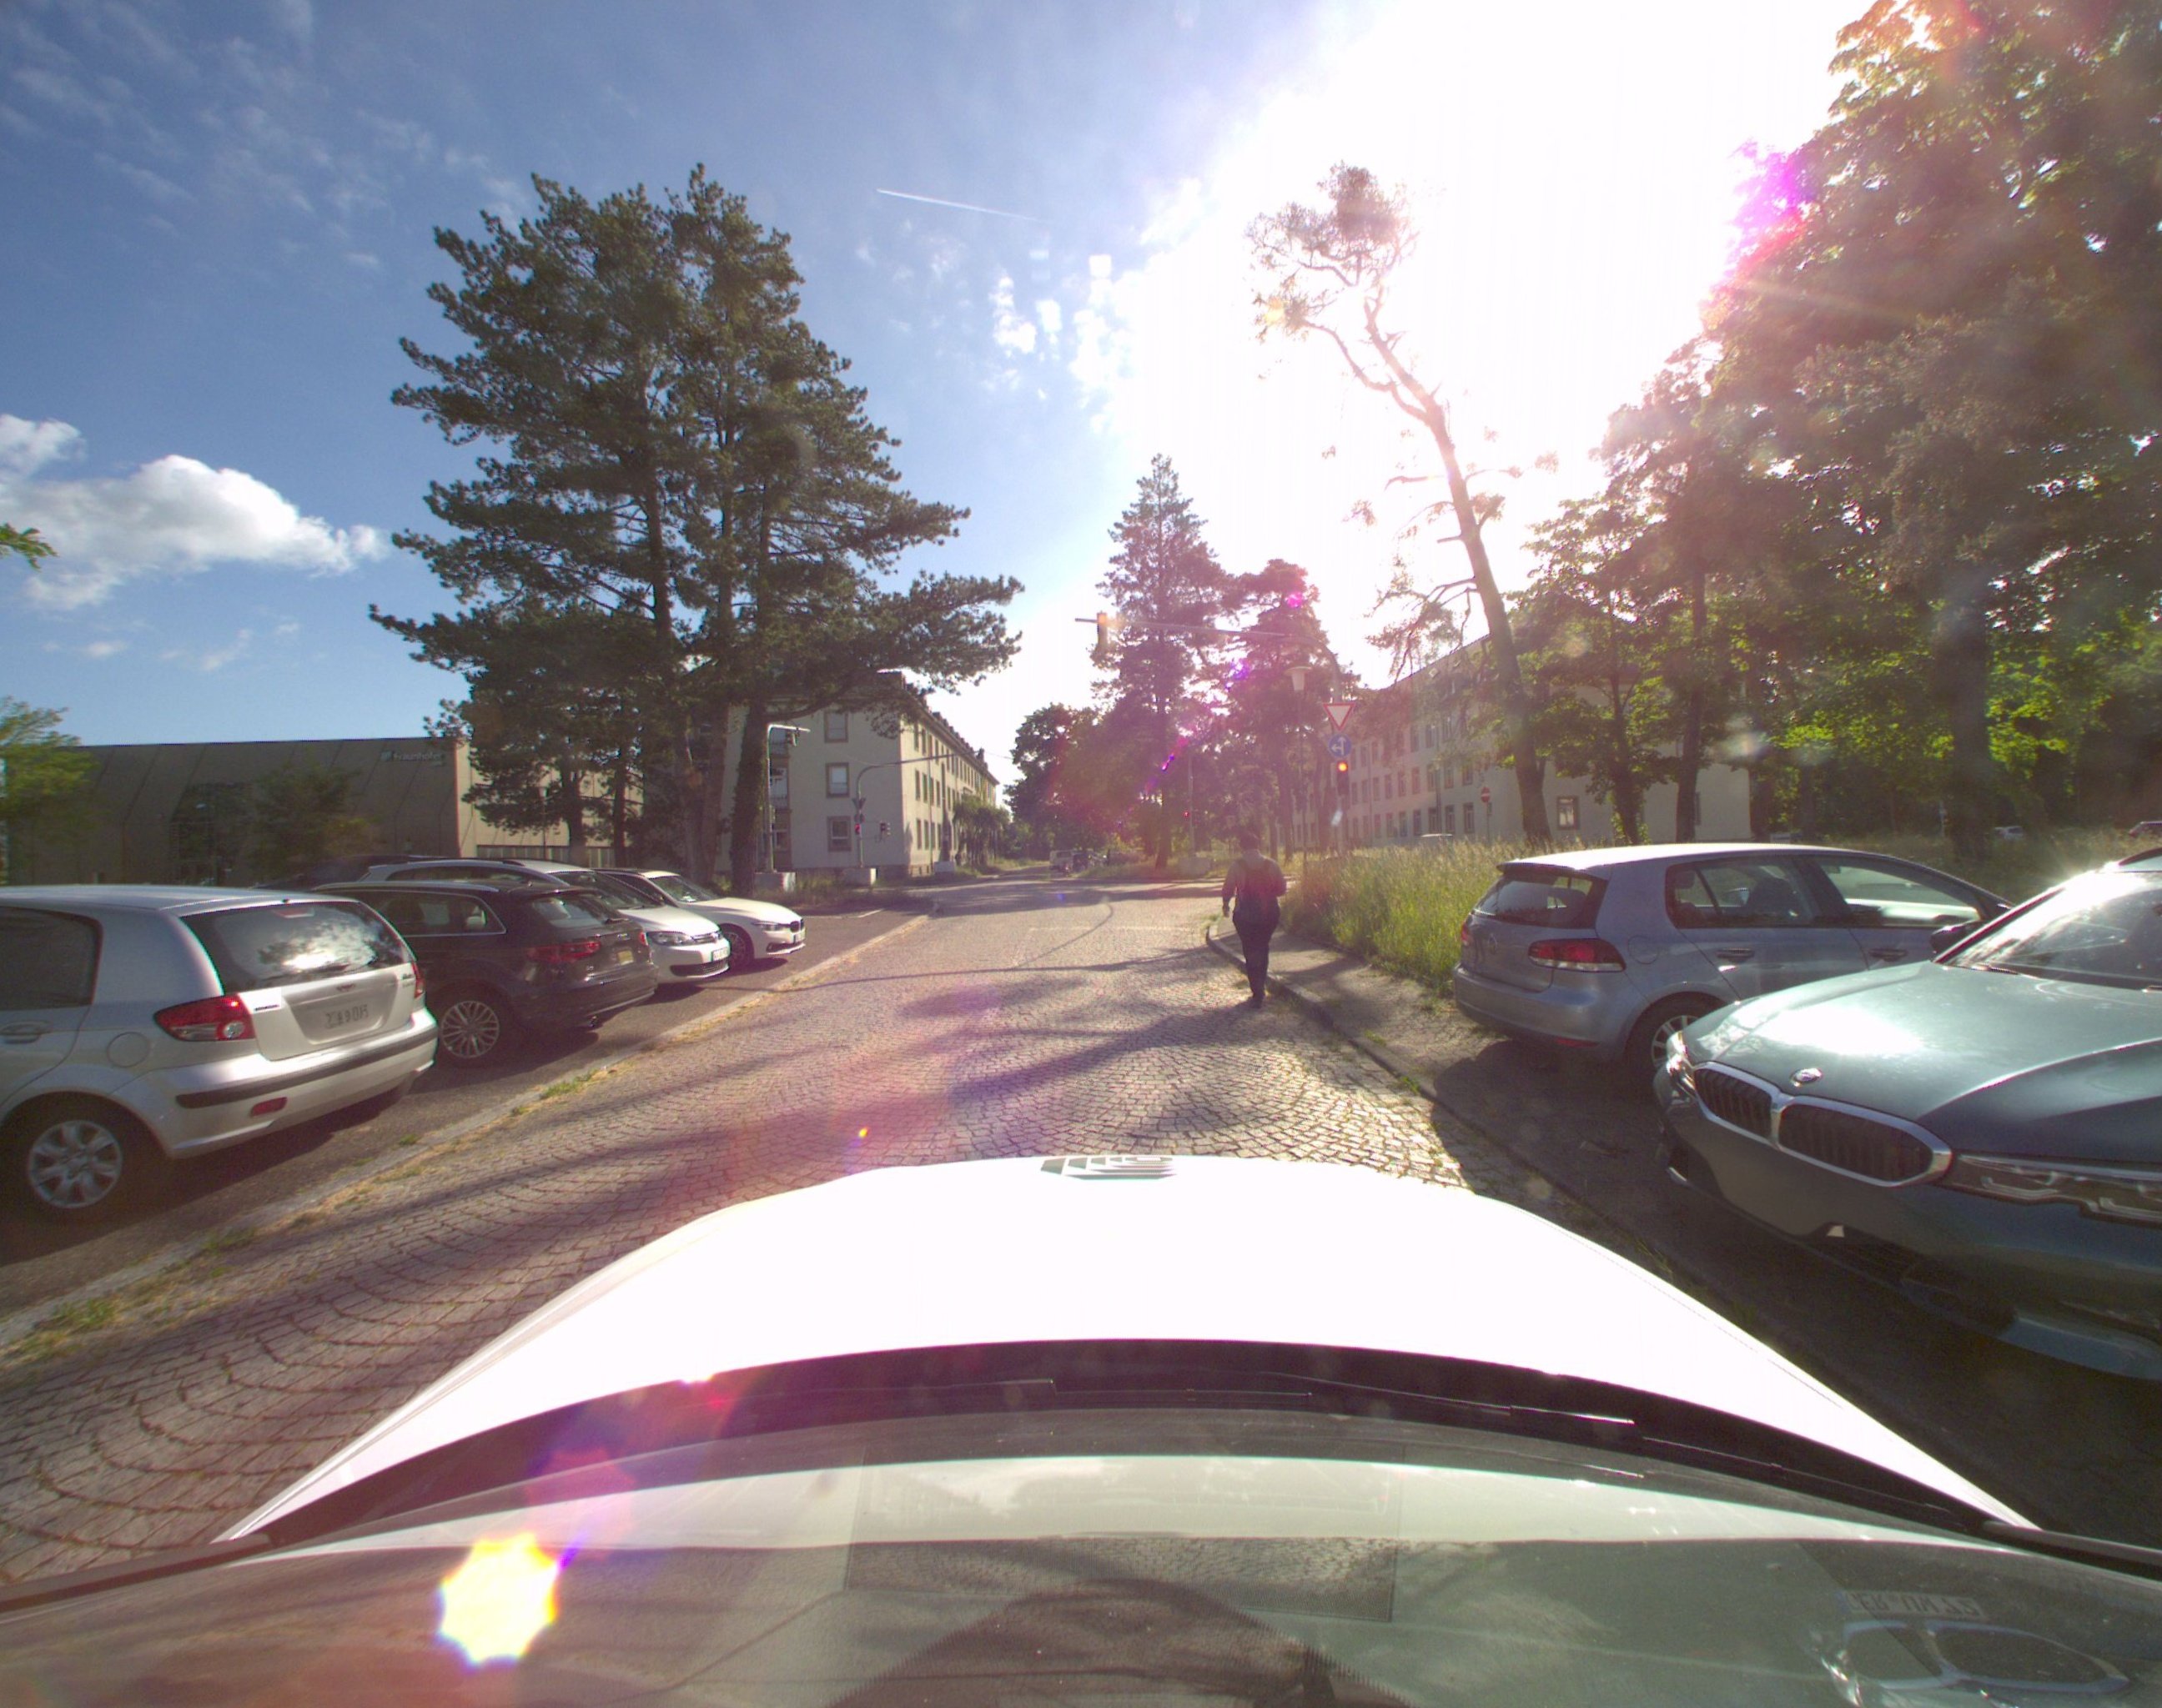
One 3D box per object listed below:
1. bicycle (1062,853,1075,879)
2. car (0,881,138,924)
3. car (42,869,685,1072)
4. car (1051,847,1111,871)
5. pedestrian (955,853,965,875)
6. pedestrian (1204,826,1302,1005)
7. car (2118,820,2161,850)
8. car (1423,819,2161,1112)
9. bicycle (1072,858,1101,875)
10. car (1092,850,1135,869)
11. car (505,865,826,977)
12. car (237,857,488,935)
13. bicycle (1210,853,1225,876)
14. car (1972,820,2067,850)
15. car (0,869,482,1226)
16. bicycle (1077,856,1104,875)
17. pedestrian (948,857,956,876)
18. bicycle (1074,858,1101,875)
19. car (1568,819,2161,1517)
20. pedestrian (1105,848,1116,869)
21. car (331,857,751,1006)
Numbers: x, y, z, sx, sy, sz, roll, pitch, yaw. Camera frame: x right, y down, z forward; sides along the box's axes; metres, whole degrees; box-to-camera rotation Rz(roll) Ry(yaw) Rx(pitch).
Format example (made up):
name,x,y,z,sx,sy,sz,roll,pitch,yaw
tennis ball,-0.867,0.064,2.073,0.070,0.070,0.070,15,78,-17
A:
name,x,y,z,sx,sy,sz,roll,pitch,yaw
bicycle,-0.810,0.713,51.022,0.751,1.580,2.535,-2,0,-1
car,-49.076,2.310,39.527,1.858,1.778,4.004,-2,0,2
car,-5.840,0.917,7.049,3.927,1.445,1.689,1,0,-3
car,-0.019,0.469,72.235,5.068,1.918,1.993,-2,0,-11
pedestrian,-9.829,0.844,66.399,0.610,1.752,0.625,-2,0,-25
pedestrian,1.755,0.606,8.422,0.751,1.725,0.828,3,0,-1
car,55.919,-1.015,41.570,3.622,1.497,1.767,-2,0,1
car,4.510,0.624,5.488,3.663,1.443,1.664,-3,0,-1
bicycle,0.358,0.826,54.322,1.831,1.112,0.494,-2,0,-5
car,2.990,0.515,76.104,3.742,1.580,1.736,-2,0,-9
car,-6.191,0.957,12.424,3.970,1.496,1.774,0,0,3
car,-17.063,0.958,19.512,4.131,1.608,2.009,-2,0,0
bicycle,7.107,0.547,42.594,0.717,1.115,2.590,-2,0,9
car,56.558,-1.118,49.113,3.622,1.671,1.767,-2,0,1
car,-5.751,0.871,4.391,3.678,1.527,1.697,1,0,-4
bicycle,0.643,0.780,55.555,1.724,1.164,0.560,-2,0,-5
pedestrian,-10.737,1.061,68.010,0.606,1.559,0.544,-1,0,-8
bicycle,0.418,0.824,54.868,1.724,1.112,0.483,-2,0,-5
car,4.606,0.609,2.930,4.610,1.455,1.868,-4,0,-4
pedestrian,2.587,0.417,70.715,0.759,1.783,0.682,-2,0,-9
car,-6.269,0.859,9.809,3.870,1.615,1.659,0,0,-3
